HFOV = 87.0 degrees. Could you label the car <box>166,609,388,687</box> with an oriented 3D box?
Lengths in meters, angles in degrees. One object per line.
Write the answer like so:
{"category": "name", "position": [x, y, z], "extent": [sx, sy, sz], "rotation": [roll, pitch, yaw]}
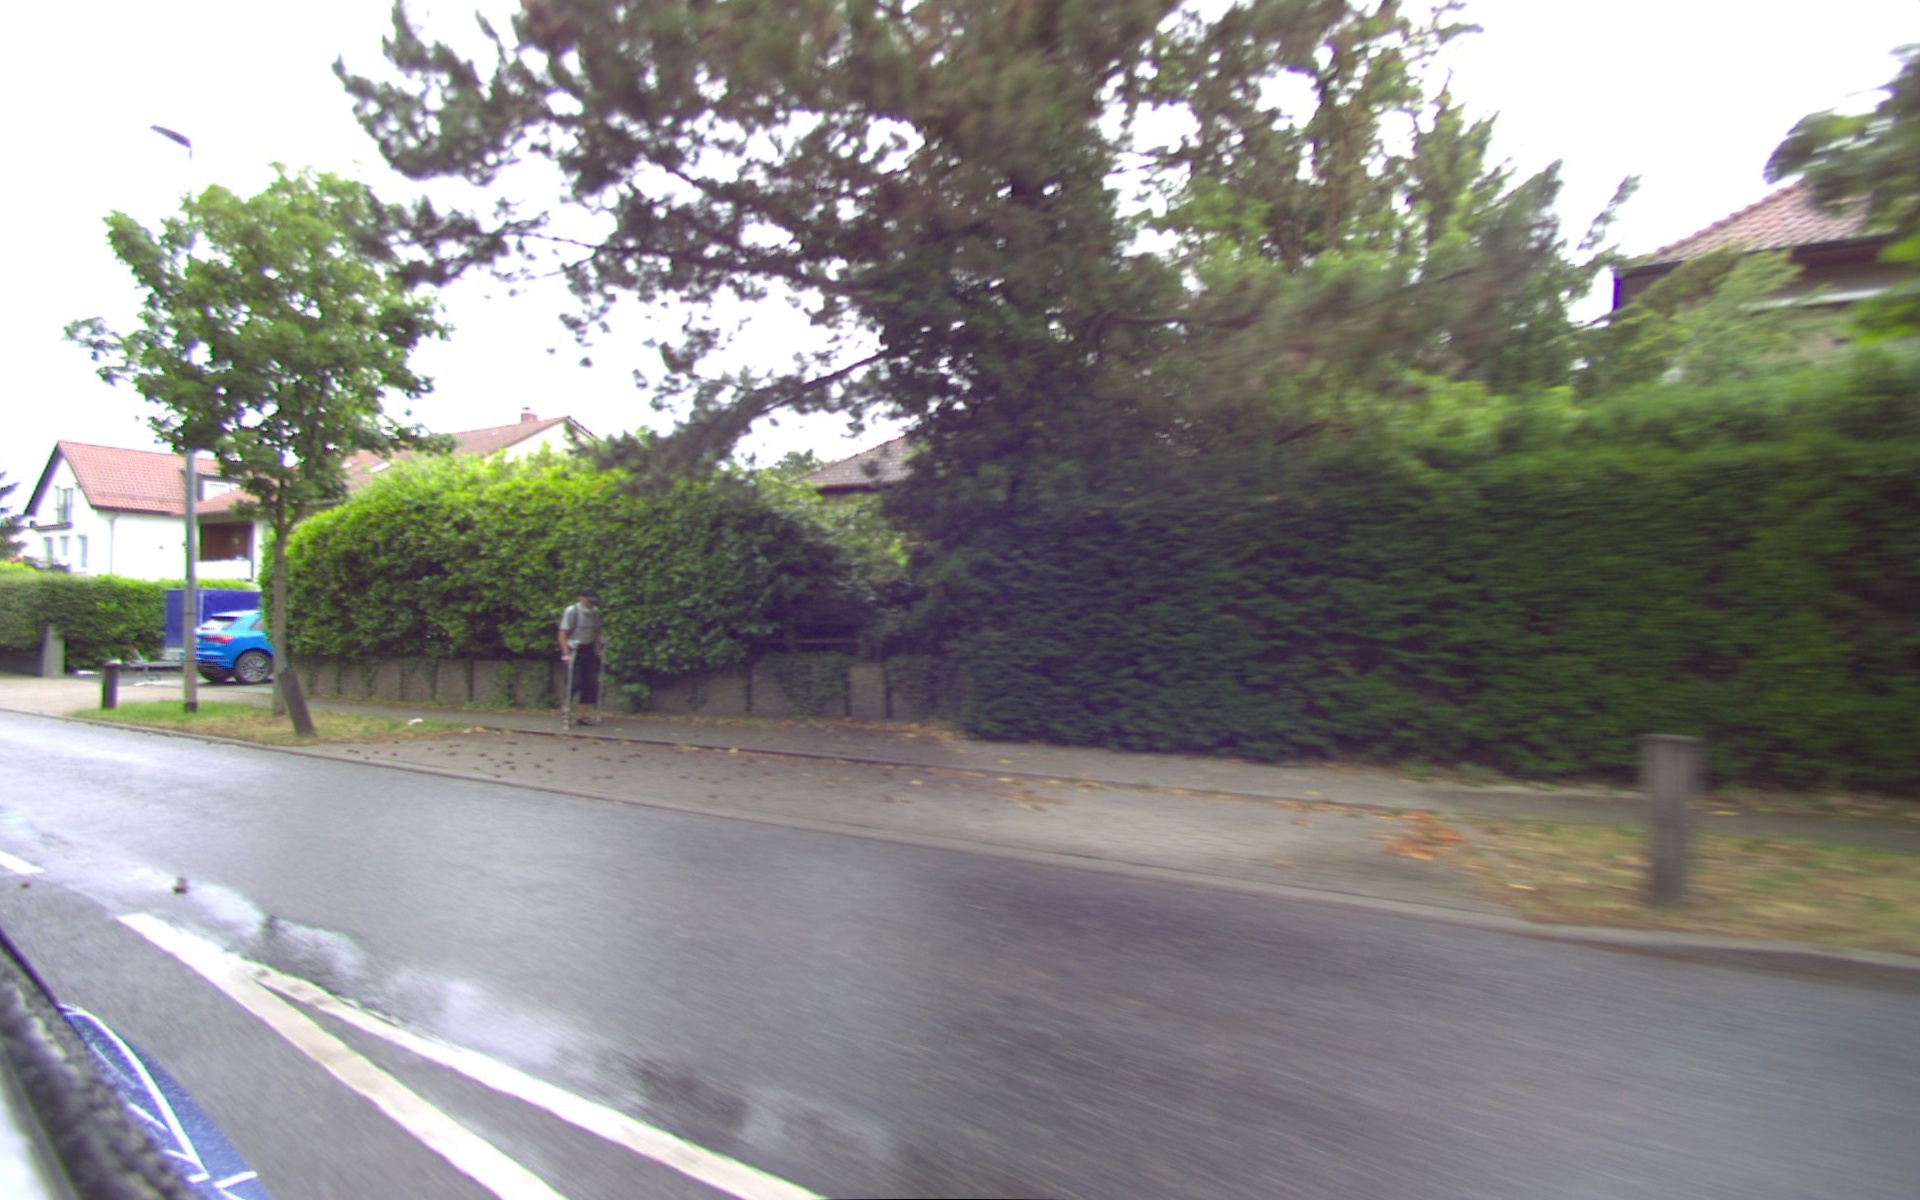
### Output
{"category": "car", "position": [-15.522, 1.028, 23.186], "extent": [1.811, 1.598, 3.824], "rotation": [-1, 0, 30]}
